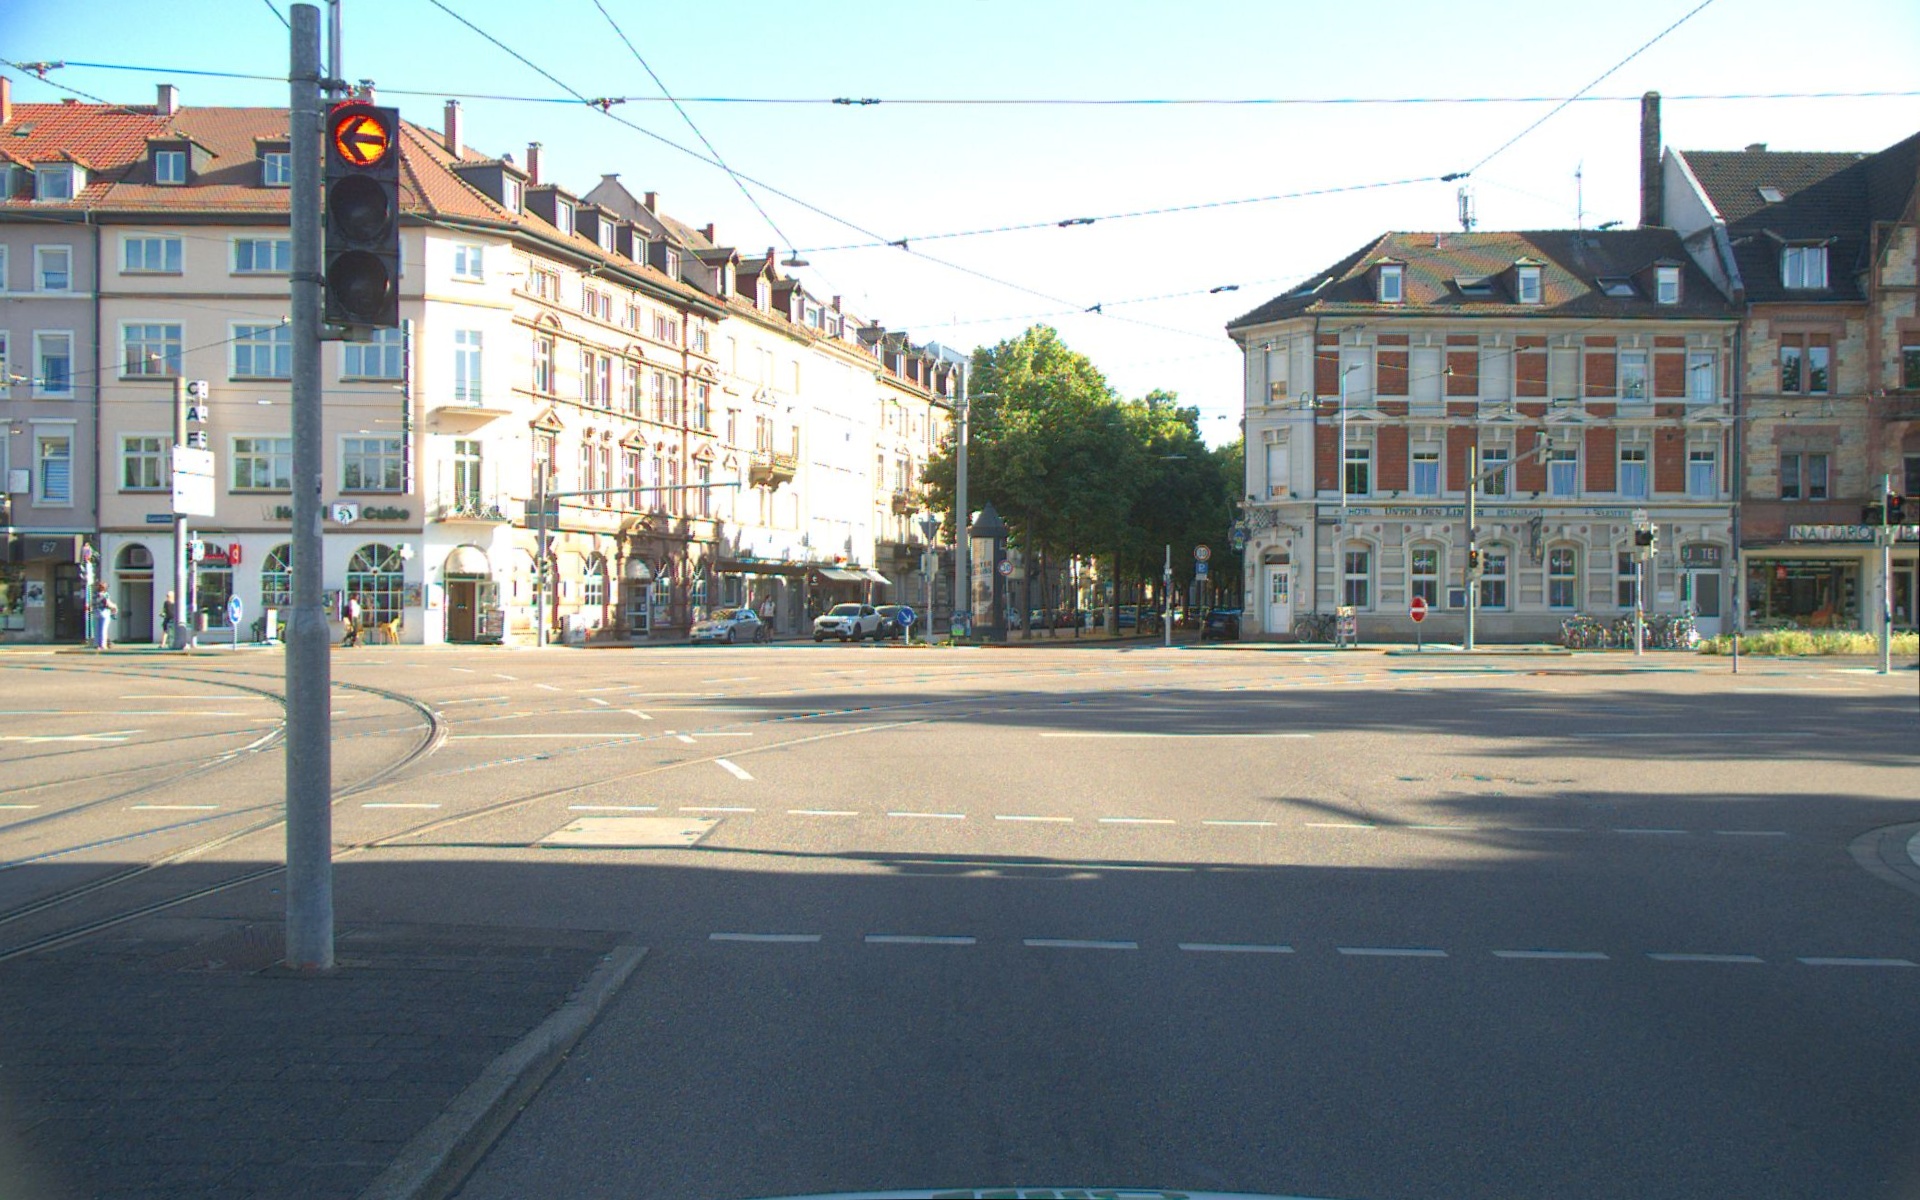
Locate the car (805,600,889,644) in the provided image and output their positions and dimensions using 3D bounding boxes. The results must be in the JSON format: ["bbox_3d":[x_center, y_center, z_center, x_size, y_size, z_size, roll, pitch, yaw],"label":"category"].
[{"bbox_3d":[-4.543,0.879,67.250,1.951,1.713,4.393,0,0,17],"label":"car"}]

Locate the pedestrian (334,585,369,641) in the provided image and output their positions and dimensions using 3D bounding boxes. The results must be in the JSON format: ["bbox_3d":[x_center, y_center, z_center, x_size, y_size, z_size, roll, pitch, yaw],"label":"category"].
[{"bbox_3d":[-19.447,0.408,52.874,1.030,1.774,0.804,0,0,-19],"label":"pedestrian"}]

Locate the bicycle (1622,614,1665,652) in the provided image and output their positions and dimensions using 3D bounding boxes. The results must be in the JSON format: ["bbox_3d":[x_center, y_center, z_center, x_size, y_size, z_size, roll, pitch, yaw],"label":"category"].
[{"bbox_3d":[22.073,1.054,53.449,0.605,1.163,2.175,0,0,4],"label":"bicycle"}]

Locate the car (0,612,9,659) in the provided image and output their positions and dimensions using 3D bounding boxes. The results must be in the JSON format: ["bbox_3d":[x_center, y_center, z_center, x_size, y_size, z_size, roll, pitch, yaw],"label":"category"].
[{"bbox_3d":[-32.398,1.137,51.941,3.907,1.478,1.999,0,0,-3],"label":"car"}]

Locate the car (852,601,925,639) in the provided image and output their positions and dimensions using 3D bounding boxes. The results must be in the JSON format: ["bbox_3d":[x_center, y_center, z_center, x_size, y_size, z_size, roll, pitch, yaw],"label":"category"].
[{"bbox_3d":[-3.149,0.856,73.785,1.951,1.640,4.393,0,0,17],"label":"car"}]

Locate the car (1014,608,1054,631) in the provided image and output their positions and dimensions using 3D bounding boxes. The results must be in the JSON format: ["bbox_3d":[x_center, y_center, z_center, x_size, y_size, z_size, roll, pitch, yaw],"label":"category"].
[{"bbox_3d":[5.522,1.416,122.736,1.951,1.640,4.393,0,0,17],"label":"car"}]

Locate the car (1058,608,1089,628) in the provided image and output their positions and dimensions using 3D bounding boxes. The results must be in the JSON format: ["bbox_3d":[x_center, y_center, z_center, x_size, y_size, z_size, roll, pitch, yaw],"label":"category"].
[{"bbox_3d":[9.387,1.451,136.462,1.727,1.576,4.394,0,0,16],"label":"car"}]

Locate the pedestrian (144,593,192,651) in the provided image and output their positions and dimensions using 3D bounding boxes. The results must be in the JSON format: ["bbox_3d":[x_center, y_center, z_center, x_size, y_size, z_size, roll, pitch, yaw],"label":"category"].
[{"bbox_3d":[-24.892,0.679,52.002,0.985,1.806,0.942,0,0,14],"label":"pedestrian"}]

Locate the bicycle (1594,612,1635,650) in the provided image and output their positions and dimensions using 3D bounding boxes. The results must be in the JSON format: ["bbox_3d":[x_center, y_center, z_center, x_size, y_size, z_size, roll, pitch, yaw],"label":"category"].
[{"bbox_3d":[21.165,0.992,53.508,0.605,1.163,2.175,0,0,4],"label":"bicycle"}]

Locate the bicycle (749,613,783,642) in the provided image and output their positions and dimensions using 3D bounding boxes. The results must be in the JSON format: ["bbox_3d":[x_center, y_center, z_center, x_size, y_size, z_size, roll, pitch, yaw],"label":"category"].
[{"bbox_3d":[-7.596,1.076,64.886,0.665,1.085,2.127,0,0,12],"label":"bicycle"}]

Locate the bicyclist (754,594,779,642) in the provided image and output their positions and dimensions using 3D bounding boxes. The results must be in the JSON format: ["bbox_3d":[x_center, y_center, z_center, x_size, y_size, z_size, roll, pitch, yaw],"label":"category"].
[{"bbox_3d":[-7.585,0.689,64.928,0.664,1.852,1.071,0,0,12],"label":"bicyclist"}]

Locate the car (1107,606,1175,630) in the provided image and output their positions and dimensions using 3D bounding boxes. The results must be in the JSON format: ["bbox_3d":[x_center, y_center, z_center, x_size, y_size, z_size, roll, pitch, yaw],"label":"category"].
[{"bbox_3d":[12.651,1.260,115.421,4.290,1.640,1.998,0,0,26],"label":"car"}]

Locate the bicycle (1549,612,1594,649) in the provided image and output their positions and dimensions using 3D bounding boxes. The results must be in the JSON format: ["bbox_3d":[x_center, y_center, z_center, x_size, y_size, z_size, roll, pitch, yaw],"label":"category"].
[{"bbox_3d":[19.822,0.987,53.657,0.789,1.163,2.175,0,0,4],"label":"bicycle"}]

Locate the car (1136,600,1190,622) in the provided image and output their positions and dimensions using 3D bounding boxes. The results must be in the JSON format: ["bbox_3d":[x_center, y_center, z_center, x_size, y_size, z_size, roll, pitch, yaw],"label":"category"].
[{"bbox_3d":[16.413,0.876,133.871,3.912,1.736,1.996,0,0,30],"label":"car"}]

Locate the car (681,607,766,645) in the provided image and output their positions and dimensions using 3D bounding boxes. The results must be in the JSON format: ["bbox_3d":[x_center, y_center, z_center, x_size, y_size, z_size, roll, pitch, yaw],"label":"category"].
[{"bbox_3d":[-9.526,1.030,66.896,1.858,1.481,4.002,0,0,17],"label":"car"}]

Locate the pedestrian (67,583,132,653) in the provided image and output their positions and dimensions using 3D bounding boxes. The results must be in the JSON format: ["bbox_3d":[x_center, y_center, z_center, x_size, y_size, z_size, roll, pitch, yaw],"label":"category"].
[{"bbox_3d":[-21.566,0.444,41.489,1.058,1.714,1.103,0,0,-1],"label":"pedestrian"}]

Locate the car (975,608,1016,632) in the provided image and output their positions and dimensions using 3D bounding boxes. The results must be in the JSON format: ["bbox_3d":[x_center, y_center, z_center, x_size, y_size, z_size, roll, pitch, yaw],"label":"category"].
[{"bbox_3d":[2.408,1.317,110.988,1.951,1.512,4.003,0,0,13],"label":"car"}]

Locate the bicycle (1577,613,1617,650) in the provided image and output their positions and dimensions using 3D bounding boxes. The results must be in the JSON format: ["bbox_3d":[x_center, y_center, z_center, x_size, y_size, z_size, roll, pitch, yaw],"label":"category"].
[{"bbox_3d":[20.594,0.998,53.539,0.605,1.163,2.175,0,0,4],"label":"bicycle"}]

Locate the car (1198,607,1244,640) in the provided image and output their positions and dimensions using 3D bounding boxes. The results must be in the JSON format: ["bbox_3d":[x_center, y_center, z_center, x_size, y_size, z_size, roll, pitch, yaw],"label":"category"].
[{"bbox_3d":[13.068,1.155,82.632,1.951,1.612,4.003,0,0,13],"label":"car"}]

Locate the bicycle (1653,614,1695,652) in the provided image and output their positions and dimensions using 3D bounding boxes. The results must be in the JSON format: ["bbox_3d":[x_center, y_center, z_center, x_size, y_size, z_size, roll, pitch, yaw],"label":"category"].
[{"bbox_3d":[23.037,1.058,53.397,0.596,1.156,2.136,0,0,4],"label":"bicycle"}]

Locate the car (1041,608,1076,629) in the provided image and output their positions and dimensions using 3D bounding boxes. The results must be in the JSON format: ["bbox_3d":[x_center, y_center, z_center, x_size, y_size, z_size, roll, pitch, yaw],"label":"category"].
[{"bbox_3d":[7.775,1.412,130.561,1.798,1.579,4.393,0,0,16],"label":"car"}]

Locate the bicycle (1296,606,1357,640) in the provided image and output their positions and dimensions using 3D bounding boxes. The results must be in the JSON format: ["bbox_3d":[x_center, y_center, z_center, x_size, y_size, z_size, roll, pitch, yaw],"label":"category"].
[{"bbox_3d":[12.751,0.816,57.581,2.045,1.144,0.366,1,-1,-5],"label":"bicycle"}]

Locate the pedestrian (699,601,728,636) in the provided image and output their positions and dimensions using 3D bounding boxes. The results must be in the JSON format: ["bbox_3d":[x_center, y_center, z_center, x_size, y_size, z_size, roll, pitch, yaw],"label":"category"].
[{"bbox_3d":[-10.968,0.816,73.681,0.908,1.562,1.138,0,0,13],"label":"pedestrian"}]
